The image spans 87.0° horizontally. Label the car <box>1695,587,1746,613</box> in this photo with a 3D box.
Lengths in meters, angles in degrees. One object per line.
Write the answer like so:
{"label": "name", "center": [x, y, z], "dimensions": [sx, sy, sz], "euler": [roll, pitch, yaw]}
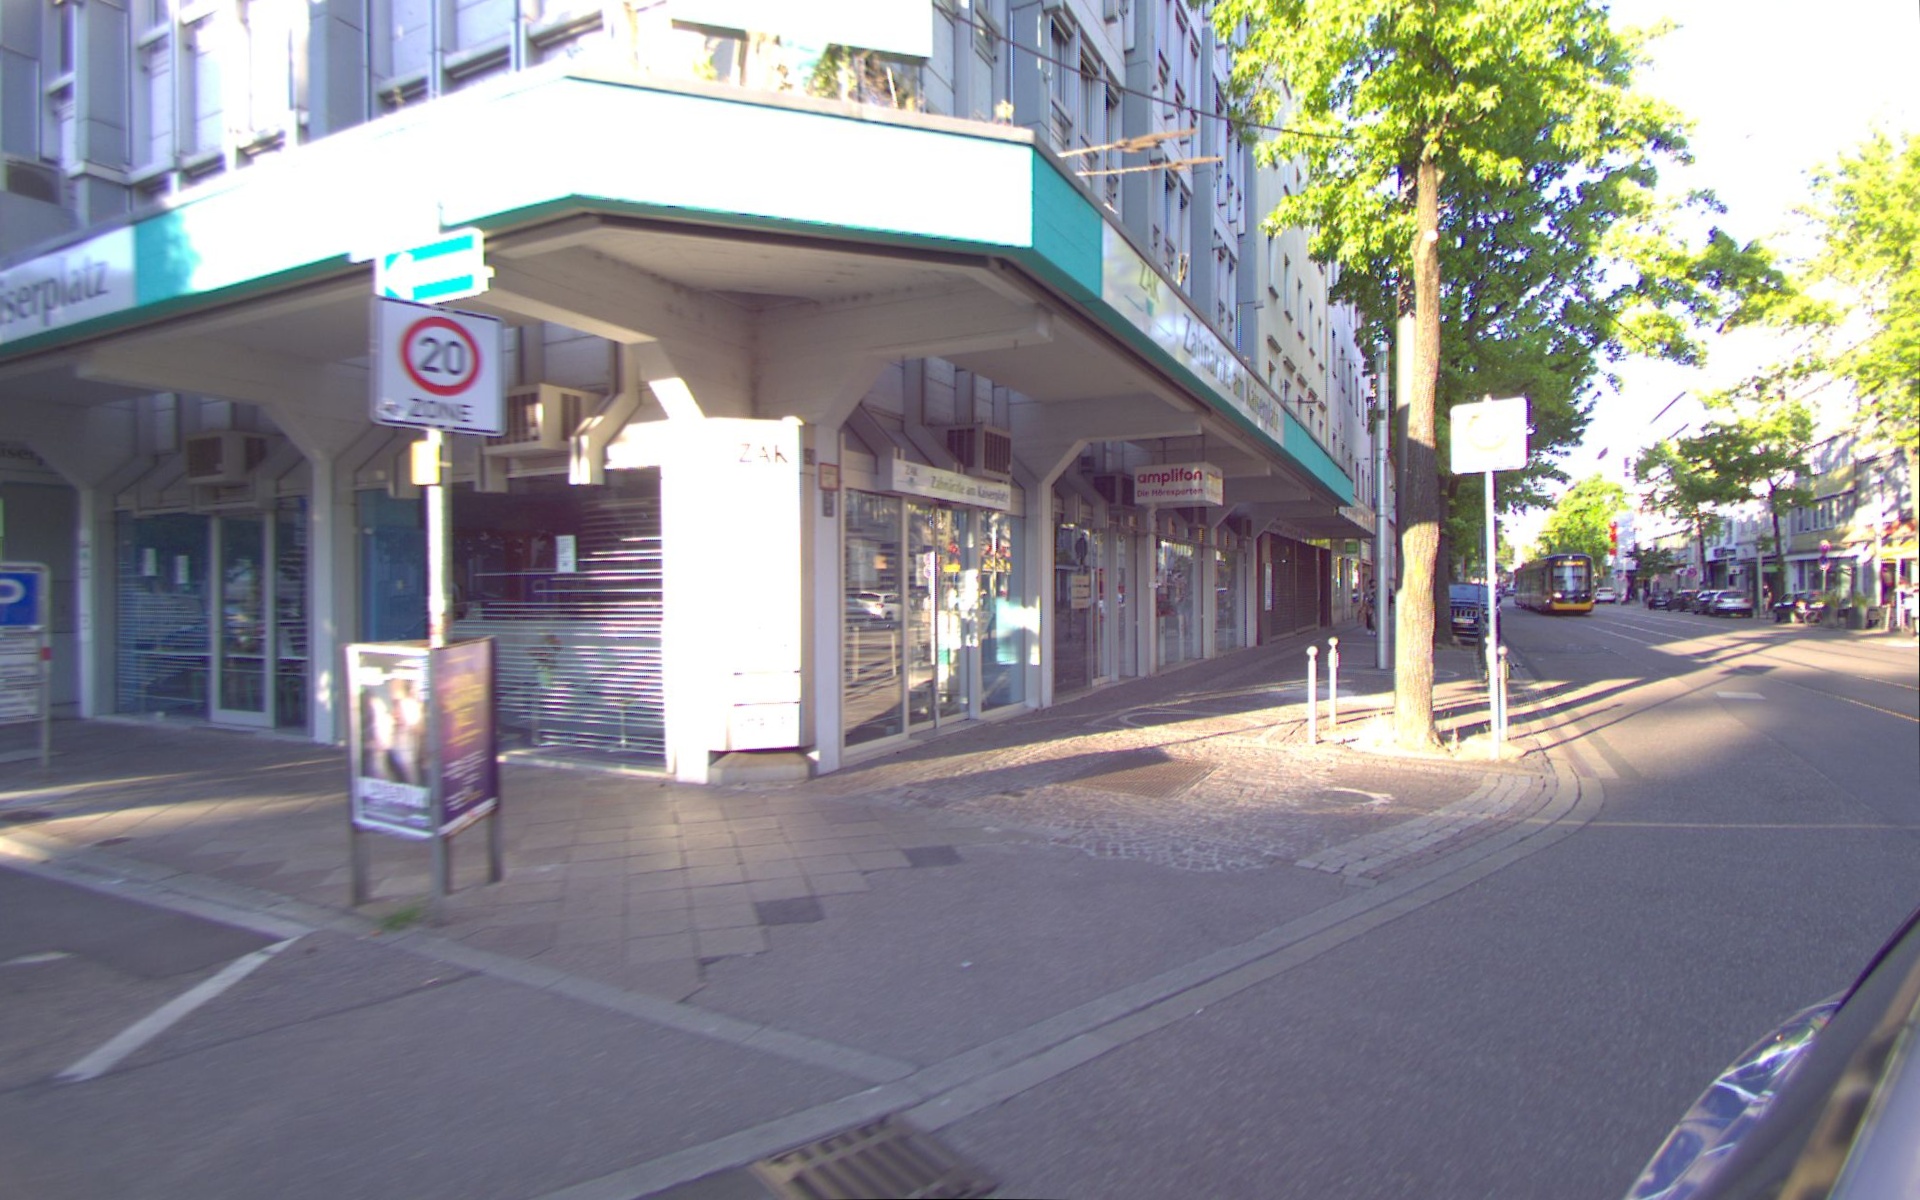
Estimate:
{"label": "car", "center": [46.017, -0.035, 61.320], "dimensions": [1.700, 1.479, 4.444], "euler": [-2, 0, 27]}

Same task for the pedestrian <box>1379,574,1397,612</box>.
{"label": "pedestrian", "center": [19.418, -0.306, 45.906], "dimensions": [0.653, 1.685, 0.880], "euler": [3, 1, 26]}

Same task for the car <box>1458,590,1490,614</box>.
{"label": "car", "center": [41.593, 0.147, 81.912], "dimensions": [1.983, 1.708, 4.928], "euler": [2, 2, 24]}

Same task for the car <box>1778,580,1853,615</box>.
{"label": "car", "center": [38.823, -0.122, 46.028], "dimensions": [1.654, 1.446, 3.792], "euler": [-3, -1, 26]}

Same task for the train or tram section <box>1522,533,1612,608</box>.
{"label": "train or tram section", "center": [36.833, -1.609, 61.949], "dimensions": [3.575, 4.048, 15.567], "euler": [0, 0, 27]}

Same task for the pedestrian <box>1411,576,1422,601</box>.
{"label": "pedestrian", "center": [34.912, -0.868, 77.363], "dimensions": [0.708, 1.910, 1.043], "euler": [1, 1, 27]}

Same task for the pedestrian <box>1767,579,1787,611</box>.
{"label": "pedestrian", "center": [48.003, -0.297, 59.495], "dimensions": [0.655, 1.849, 0.870], "euler": [-3, -1, 27]}

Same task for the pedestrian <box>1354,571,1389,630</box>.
{"label": "pedestrian", "center": [12.901, 0.016, 31.732], "dimensions": [0.853, 1.774, 0.924], "euler": [3, 2, 27]}

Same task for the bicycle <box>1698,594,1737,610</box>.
{"label": "bicycle", "center": [48.199, 0.142, 64.384], "dimensions": [1.960, 1.014, 0.327], "euler": [0, 0, 31]}

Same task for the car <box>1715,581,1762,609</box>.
{"label": "car", "center": [42.834, -0.297, 55.724], "dimensions": [1.760, 1.516, 4.124], "euler": [0, 1, 34]}

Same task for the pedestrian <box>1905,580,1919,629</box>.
{"label": "pedestrian", "center": [30.436, 0.124, 32.014], "dimensions": [0.616, 1.528, 0.722], "euler": [0, 1, 28]}

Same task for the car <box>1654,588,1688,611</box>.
{"label": "car", "center": [54.407, -0.036, 77.412], "dimensions": [1.629, 1.637, 3.652], "euler": [-2, -1, 42]}

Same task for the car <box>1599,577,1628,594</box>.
{"label": "car", "center": [70.759, -1.524, 109.610], "dimensions": [1.980, 1.776, 4.701], "euler": [-2, -1, 26]}

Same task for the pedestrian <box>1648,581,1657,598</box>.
{"label": "pedestrian", "center": [70.685, -1.070, 103.351], "dimensions": [0.638, 1.734, 0.820], "euler": [-2, -1, 31]}

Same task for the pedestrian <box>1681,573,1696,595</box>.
{"label": "pedestrian", "center": [58.879, -1.296, 81.754], "dimensions": [0.844, 1.788, 0.825], "euler": [0, 0, 25]}

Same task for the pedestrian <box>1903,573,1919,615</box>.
{"label": "pedestrian", "center": [38.825, -0.239, 40.934], "dimensions": [0.783, 1.715, 0.905], "euler": [0, 0, 27]}

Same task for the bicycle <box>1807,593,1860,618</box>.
{"label": "bicycle", "center": [36.788, 0.233, 42.646], "dimensions": [1.609, 0.978, 0.427], "euler": [-2, -1, 34]}

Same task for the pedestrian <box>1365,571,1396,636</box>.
{"label": "pedestrian", "center": [11.397, 0.093, 27.400], "dimensions": [0.639, 1.690, 0.779], "euler": [3, 2, 27]}

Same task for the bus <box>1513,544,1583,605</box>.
{"label": "bus", "center": [44.238, -1.755, 76.676], "dimensions": [3.584, 4.048, 17.317], "euler": [0, 0, 27]}

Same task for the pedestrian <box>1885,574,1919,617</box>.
{"label": "pedestrian", "center": [37.929, -0.182, 40.730], "dimensions": [0.838, 1.715, 0.733], "euler": [0, 0, 27]}

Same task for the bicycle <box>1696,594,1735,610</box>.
{"label": "bicycle", "center": [49.111, 0.111, 65.797], "dimensions": [1.960, 1.014, 0.327], "euler": [0, 0, 31]}

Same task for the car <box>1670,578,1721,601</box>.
{"label": "car", "center": [50.709, -0.705, 69.875], "dimensions": [1.776, 1.509, 4.213], "euler": [-2, 0, 21]}

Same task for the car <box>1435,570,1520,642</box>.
{"label": "car", "center": [14.917, 0.126, 29.236], "dimensions": [1.926, 1.780, 4.636], "euler": [4, 2, 27]}
